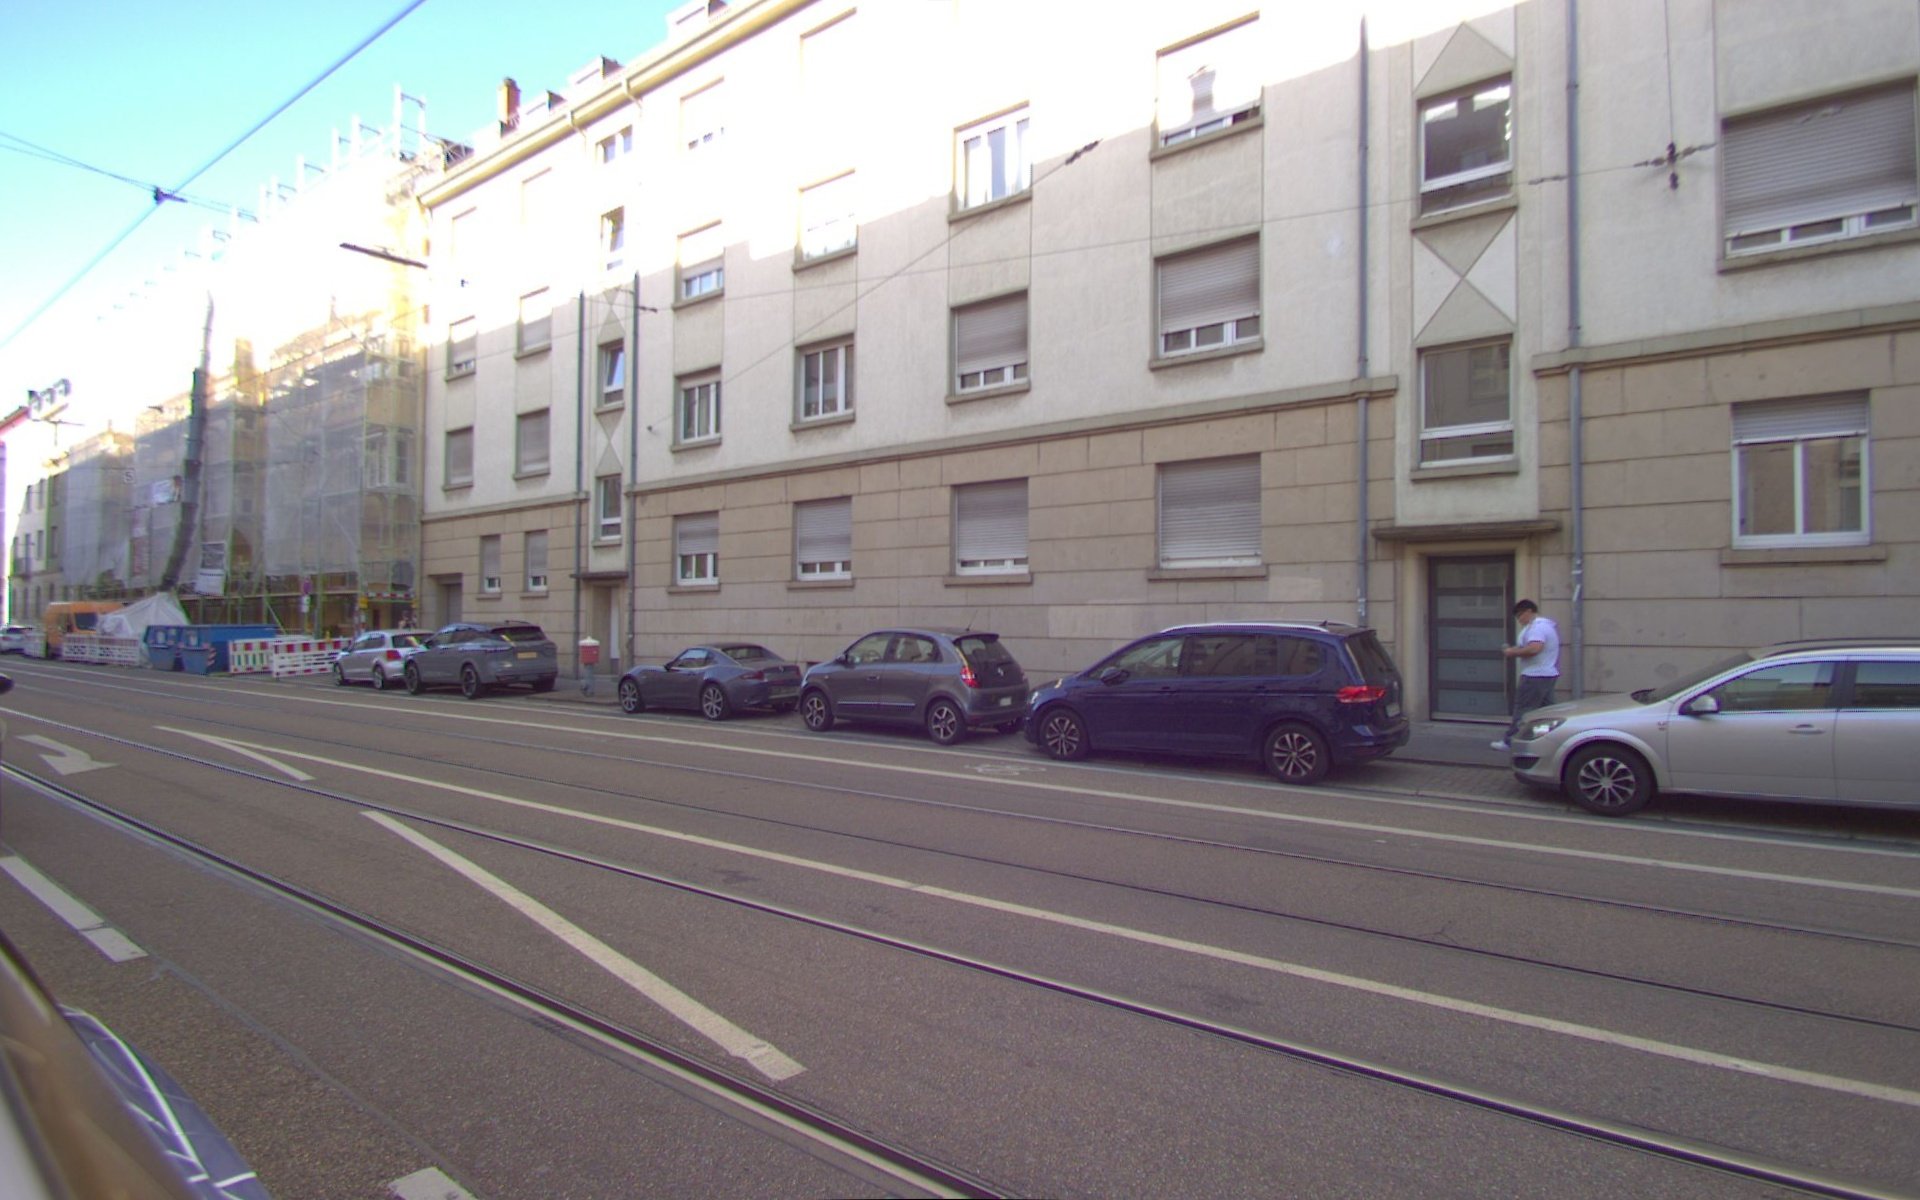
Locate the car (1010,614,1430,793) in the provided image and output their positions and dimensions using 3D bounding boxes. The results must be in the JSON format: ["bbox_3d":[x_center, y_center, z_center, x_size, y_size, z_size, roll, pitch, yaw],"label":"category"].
[{"bbox_3d":[2.872,1.015,11.641,4.318,1.645,1.798,-1,1,37],"label":"car"}]

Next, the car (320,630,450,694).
[{"bbox_3d":[-14.431,1.496,25.361,3.502,1.390,1.546,-1,1,37],"label":"car"}]

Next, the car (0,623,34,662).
[{"bbox_3d":[-49.998,2.212,53.313,1.635,1.937,3.767,-1,0,-44],"label":"car"}]

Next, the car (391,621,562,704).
[{"bbox_3d":[-10.869,1.313,22.647,4.152,1.621,1.731,-1,1,37],"label":"car"}]

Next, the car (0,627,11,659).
[{"bbox_3d":[-54.771,2.407,56.911,3.932,1.696,1.550,-1,0,39],"label":"car"}]

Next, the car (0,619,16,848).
[{"bbox_3d":[-8.003,0.881,6.992,3.814,1.436,1.705,-2,-3,40],"label":"car"}]

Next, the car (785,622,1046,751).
[{"bbox_3d":[-0.704,1.148,14.667,3.591,1.570,1.624,-1,1,38],"label":"car"}]

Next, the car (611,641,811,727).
[{"bbox_3d":[-4.337,1.376,17.444,3.518,1.229,1.458,-1,1,37],"label":"car"}]

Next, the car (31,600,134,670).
[{"bbox_3d":[-36.454,1.397,41.991,5.866,2.717,2.188,-1,0,39],"label":"car"}]

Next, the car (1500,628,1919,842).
[{"bbox_3d":[7.068,1.017,8.389,4.363,1.465,1.709,-1,1,37],"label":"car"}]

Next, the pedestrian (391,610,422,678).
[{"bbox_3d":[-15.817,1.241,28.936,0.762,1.886,0.513,-1,0,38],"label":"pedestrian"}]

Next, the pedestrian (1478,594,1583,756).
[{"bbox_3d":[6.551,0.827,11.641,1.002,1.781,0.657,-1,0,31],"label":"pedestrian"}]
